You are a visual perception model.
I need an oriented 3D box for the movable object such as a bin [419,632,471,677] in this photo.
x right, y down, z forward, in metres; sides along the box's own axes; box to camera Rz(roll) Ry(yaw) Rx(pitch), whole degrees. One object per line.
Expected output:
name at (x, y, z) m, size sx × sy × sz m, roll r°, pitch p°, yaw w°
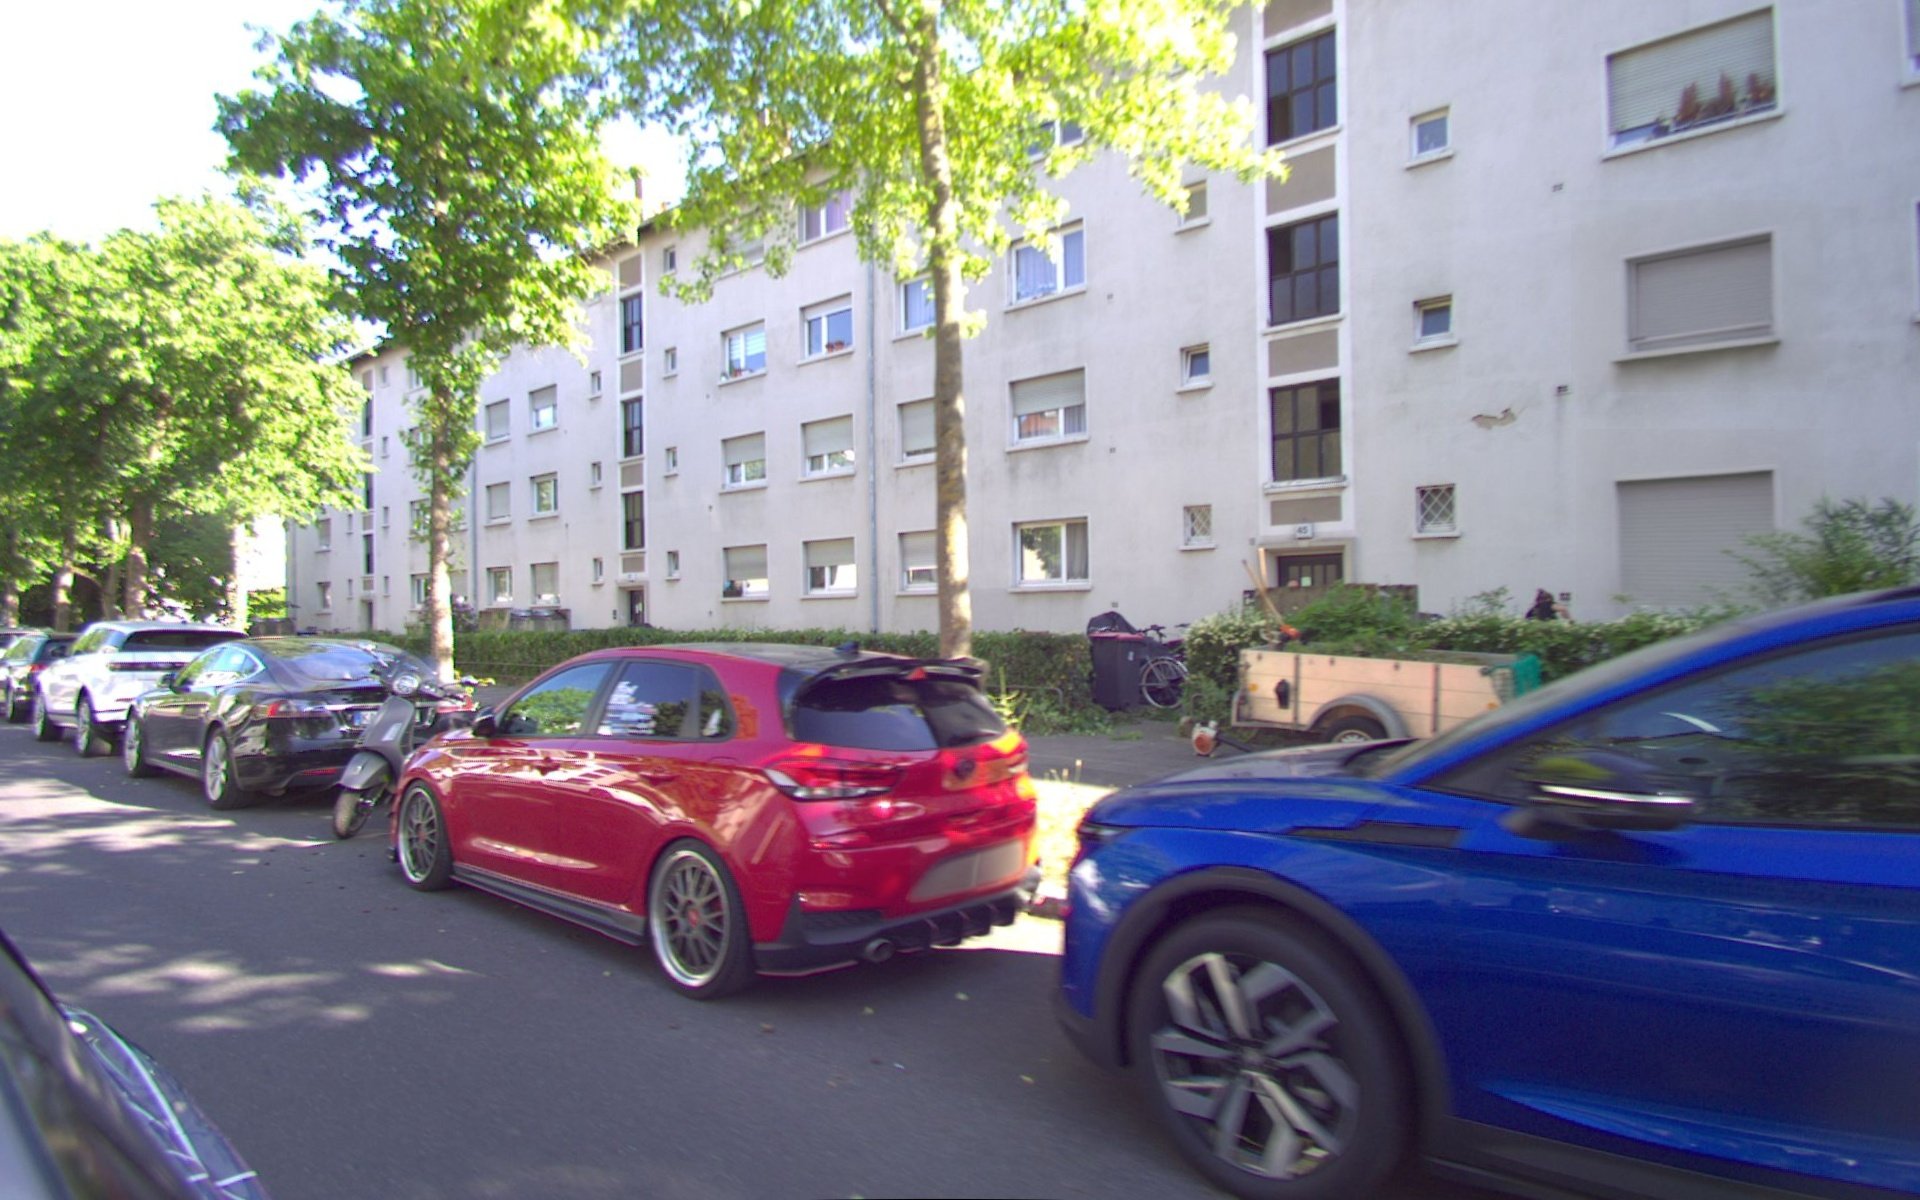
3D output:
movable object such as a bin at (-12.906, 1.357, 25.357) m, size 0.752 × 1.100 × 0.922 m, roll -2°, pitch -2°, yaw 34°

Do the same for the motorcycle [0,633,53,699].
motorcycle at (-22.871, 1.543, 23.782) m, size 2.202 × 1.515 × 0.989 m, roll 0°, pitch -2°, yaw 0°

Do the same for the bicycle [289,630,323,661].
bicycle at (-26.137, 1.809, 40.430) m, size 1.911 × 1.210 × 0.678 m, roll -2°, pitch -2°, yaw 42°

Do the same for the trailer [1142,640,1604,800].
trailer at (3.459, 0.891, 8.712) m, size 3.280 × 1.041 × 1.770 m, roll -2°, pitch -1°, yaw 42°

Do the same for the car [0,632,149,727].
car at (-15.978, 1.328, 17.755) m, size 4.815 × 1.458 × 1.711 m, roll -2°, pitch -4°, yaw 39°

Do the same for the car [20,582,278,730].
car at (-10.672, 0.684, 13.211) m, size 4.361 × 1.630 × 1.711 m, roll -2°, pitch -2°, yaw 39°

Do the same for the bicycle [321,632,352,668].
bicycle at (-23.321, 1.865, 37.831) m, size 1.912 × 1.299 × 0.394 m, roll -2°, pitch -2°, yaw 39°

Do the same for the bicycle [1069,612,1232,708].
bicycle at (2.656, 0.817, 14.217) m, size 1.978 × 1.240 × 1.082 m, roll -2°, pitch -2°, yaw 41°

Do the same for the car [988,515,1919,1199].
car at (2.394, 0.681, 2.339) m, size 4.457 × 1.579 × 1.773 m, roll -2°, pitch -4°, yaw 37°

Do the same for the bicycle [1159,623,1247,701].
bicycle at (3.710, 0.907, 15.360) m, size 0.587 × 1.086 × 1.726 m, roll -2°, pitch -1°, yaw 40°

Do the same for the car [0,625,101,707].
car at (-19.919, 1.339, 21.121) m, size 4.713 × 1.536 × 2.045 m, roll -2°, pitch -2°, yaw 37°

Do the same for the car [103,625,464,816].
car at (-6.883, 1.056, 10.091) m, size 4.615 × 1.489 × 1.711 m, roll -2°, pitch -5°, yaw 40°

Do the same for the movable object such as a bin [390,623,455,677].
movable object such as a bin at (-13.781, 1.264, 25.948) m, size 1.375 × 1.334 × 0.922 m, roll -2°, pitch -2°, yaw 34°

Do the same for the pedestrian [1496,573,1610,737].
pedestrian at (7.296, 0.656, 12.474) m, size 0.770 × 1.928 × 0.881 m, roll 0°, pitch -2°, yaw -24°

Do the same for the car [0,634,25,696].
car at (-25.826, 1.659, 26.084) m, size 4.603 × 1.536 × 2.022 m, roll -2°, pitch -2°, yaw 41°

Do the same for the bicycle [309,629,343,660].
bicycle at (-25.680, 1.802, 40.960) m, size 1.911 × 1.210 × 0.678 m, roll -2°, pitch -2°, yaw 42°

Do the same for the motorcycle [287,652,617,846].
motorcycle at (-3.892, 1.064, 8.023) m, size 0.805 × 1.280 × 2.270 m, roll -1°, pitch -3°, yaw 29°

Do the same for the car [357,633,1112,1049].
car at (-1.467, 0.889, 5.470) m, size 4.259 × 1.389 × 1.761 m, roll -2°, pitch -3°, yaw 40°

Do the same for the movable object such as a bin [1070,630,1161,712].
movable object such as a bin at (2.073, 0.920, 13.483) m, size 0.843 × 1.041 × 0.873 m, roll -2°, pitch -2°, yaw 42°

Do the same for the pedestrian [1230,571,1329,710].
pedestrian at (4.570, 0.569, 14.489) m, size 1.026 × 1.902 × 0.923 m, roll -2°, pitch -2°, yaw 44°
